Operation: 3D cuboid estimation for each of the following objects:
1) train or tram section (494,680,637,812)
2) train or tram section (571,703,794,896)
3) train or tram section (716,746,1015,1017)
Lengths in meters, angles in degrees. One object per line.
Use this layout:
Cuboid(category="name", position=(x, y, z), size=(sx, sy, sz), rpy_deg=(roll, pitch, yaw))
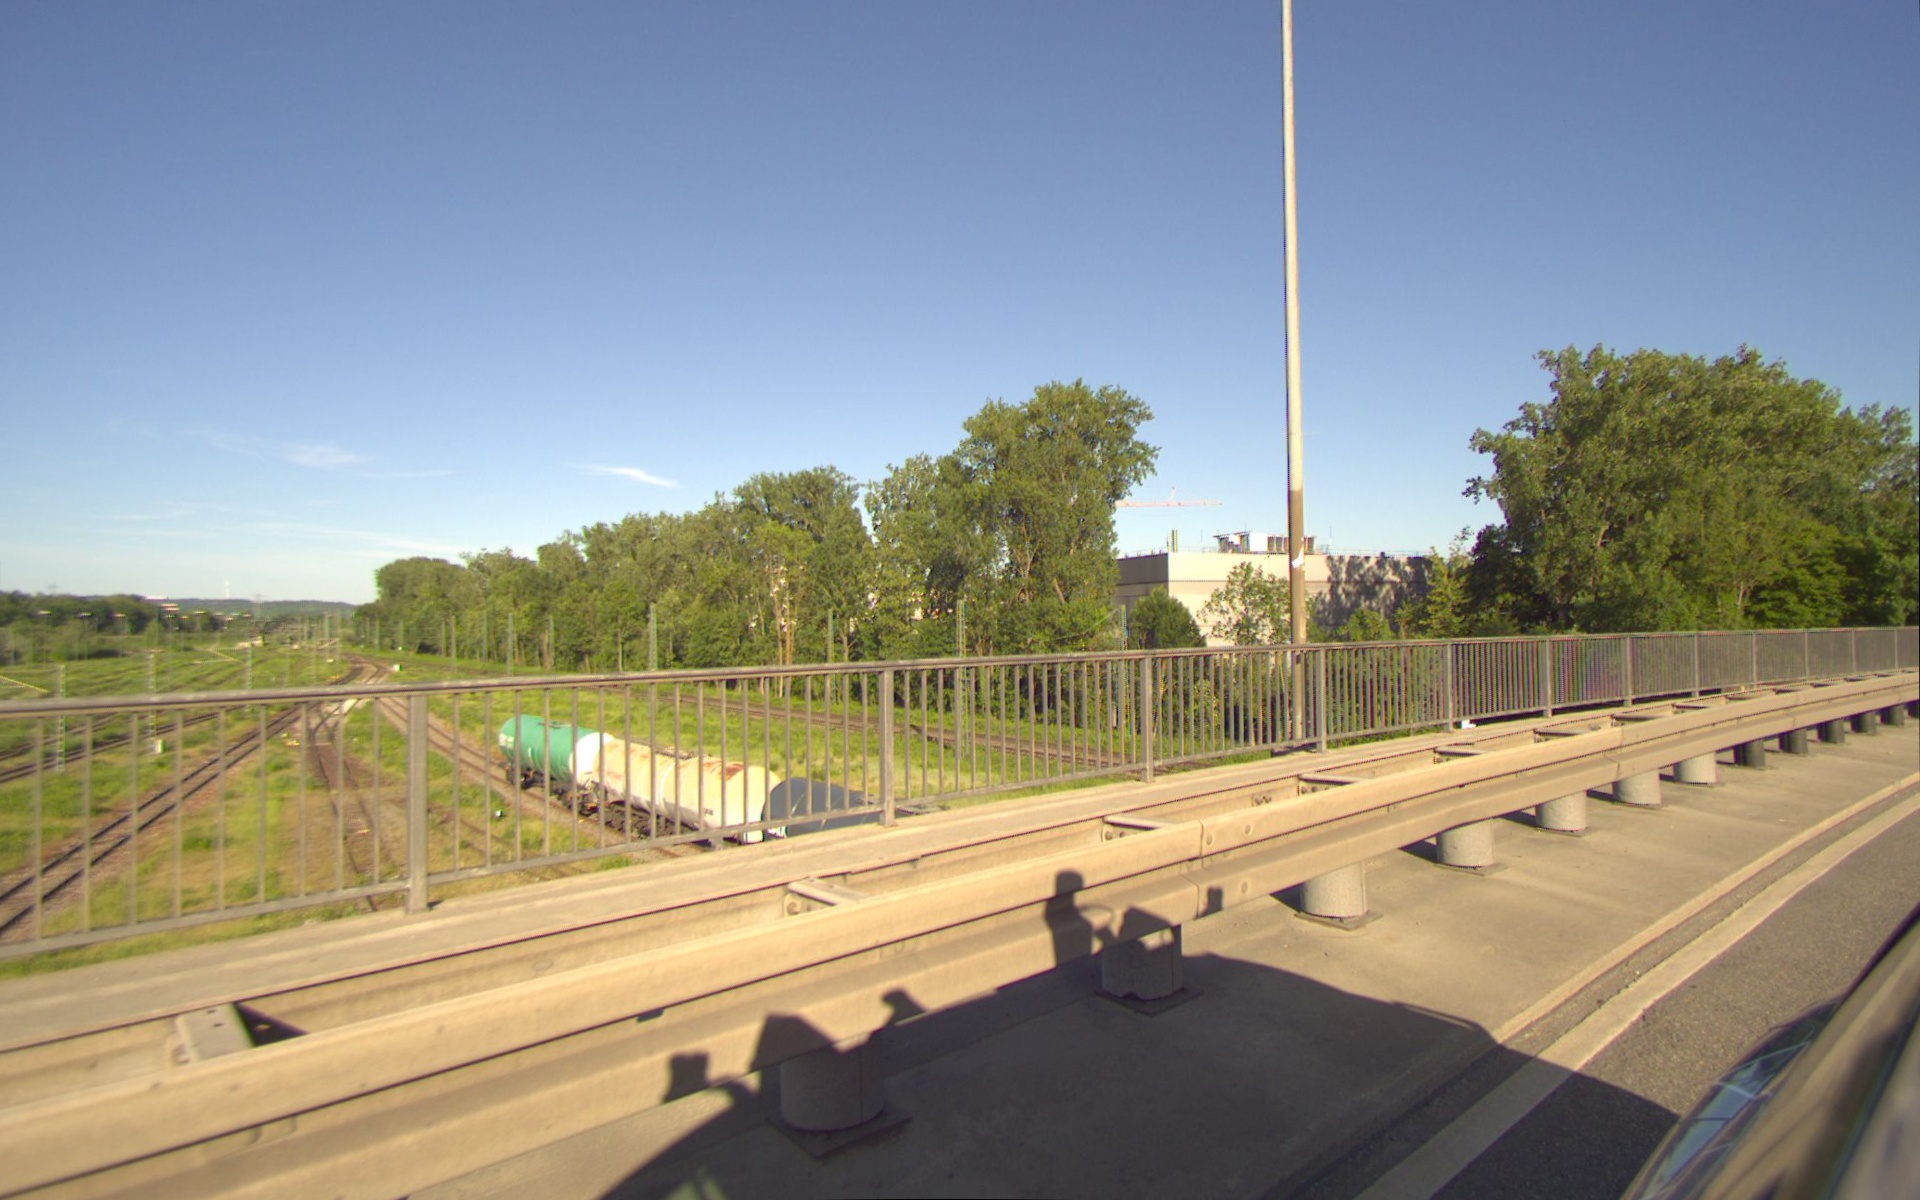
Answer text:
Cuboid(category="train or tram section", position=(-22.971, 7.910, 58.014), size=(3.276, 5.248, 15.167), rpy_deg=(0, 1, -38))
Cuboid(category="train or tram section", position=(-13.063, 8.230, 45.443), size=(3.276, 5.327, 16.868), rpy_deg=(0, 1, -38))
Cuboid(category="train or tram section", position=(-3.742, 8.530, 33.672), size=(3.276, 5.331, 13.074), rpy_deg=(0, 1, -38))
